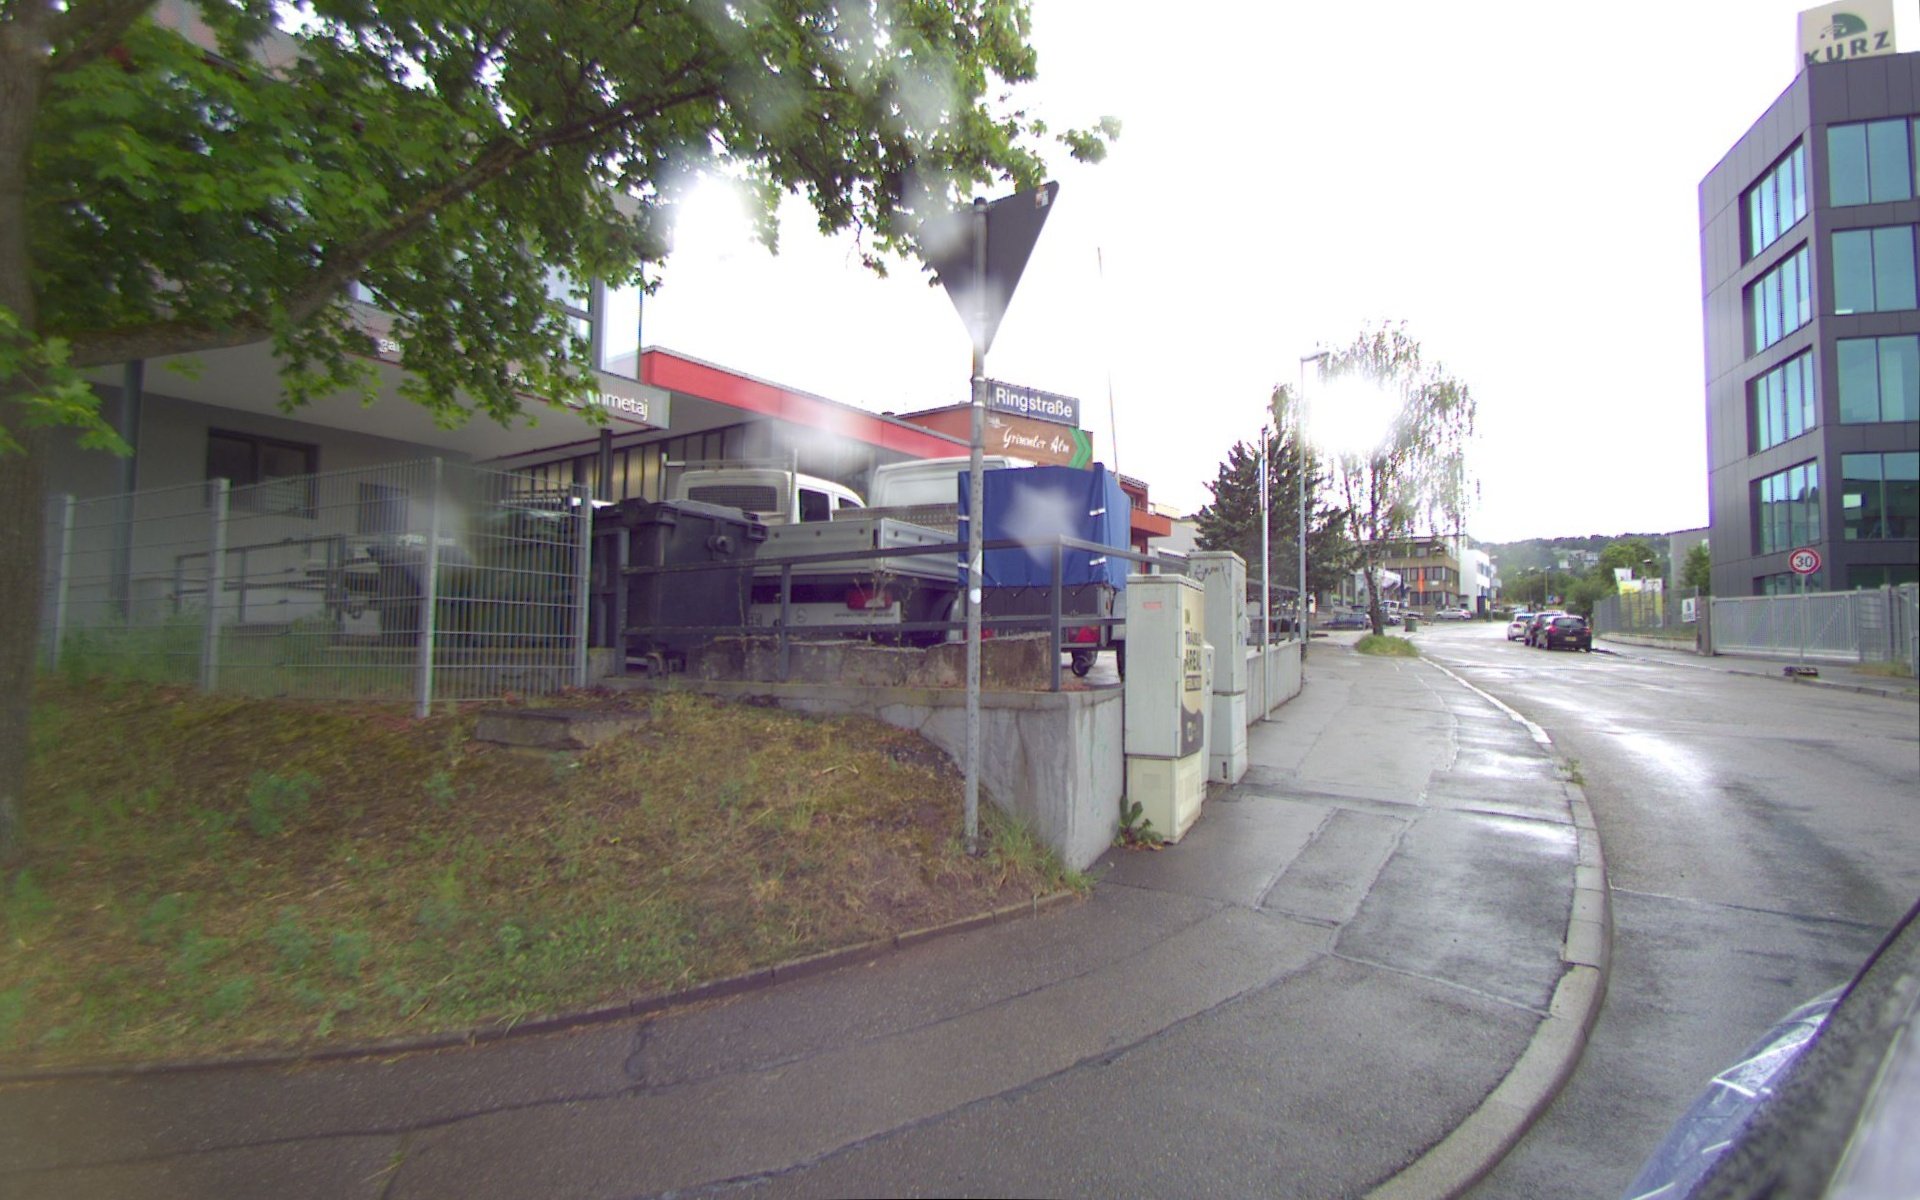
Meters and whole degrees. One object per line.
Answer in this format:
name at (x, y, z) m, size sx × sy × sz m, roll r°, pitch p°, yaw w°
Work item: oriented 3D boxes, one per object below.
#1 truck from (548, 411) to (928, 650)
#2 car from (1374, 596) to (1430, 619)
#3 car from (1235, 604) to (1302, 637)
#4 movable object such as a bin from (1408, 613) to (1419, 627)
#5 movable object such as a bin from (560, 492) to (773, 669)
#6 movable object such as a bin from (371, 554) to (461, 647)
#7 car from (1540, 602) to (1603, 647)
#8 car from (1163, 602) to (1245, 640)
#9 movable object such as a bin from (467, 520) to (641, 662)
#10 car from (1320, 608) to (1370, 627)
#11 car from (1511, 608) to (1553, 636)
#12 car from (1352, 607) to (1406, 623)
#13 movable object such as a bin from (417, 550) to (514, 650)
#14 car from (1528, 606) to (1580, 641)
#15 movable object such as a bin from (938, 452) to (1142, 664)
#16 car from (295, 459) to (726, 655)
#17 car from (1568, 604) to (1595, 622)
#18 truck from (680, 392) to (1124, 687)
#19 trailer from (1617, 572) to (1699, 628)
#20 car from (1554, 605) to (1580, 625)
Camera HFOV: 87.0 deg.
truck at (-2.463, -0.677, 12.684) m, size 2.226 × 2.372 × 4.794 m, roll 0°, pitch -1°, yaw 25°
car at (46.959, 0.792, 107.616) m, size 5.128 × 2.323 × 2.172 m, roll -1°, pitch -1°, yaw 38°
car at (18.883, 1.255, 61.947) m, size 3.426 × 1.519 × 1.596 m, roll -12°, pitch -8°, yaw 38°
movable object such as a bin at (34.236, 1.503, 76.441) m, size 0.730 × 1.104 × 0.588 m, roll 0°, pitch -1°, yaw 30°
movable object such as a bin at (-2.145, -0.127, 7.442) m, size 1.133 × 1.177 × 1.015 m, roll 0°, pitch -1°, yaw 32°
movable object such as a bin at (-4.921, 0.004, 9.162) m, size 0.519 × 0.812 × 0.533 m, roll 0°, pitch -1°, yaw 32°
car at (26.240, 1.018, 43.539) m, size 1.725 × 1.820 × 3.927 m, roll 0°, pitch -1°, yaw 23°
car at (11.282, 0.959, 46.605) m, size 1.991 × 1.599 × 4.448 m, roll -3°, pitch -2°, yaw 38°
movable object such as a bin at (-3.263, -0.063, 8.151) m, size 1.046 × 1.056 × 0.873 m, roll 0°, pitch -1°, yaw 34°
car at (32.561, 1.459, 85.574) m, size 3.725 × 1.560 × 1.611 m, roll 0°, pitch -1°, yaw 34°
car at (32.934, 1.244, 58.337) m, size 1.722 × 1.555 × 4.213 m, roll -1°, pitch -1°, yaw 25°
car at (41.334, 1.451, 99.907) m, size 4.598 × 1.516 × 1.916 m, roll 0°, pitch -1°, yaw 36°
movable object such as a bin at (-4.260, 0.002, 8.725) m, size 0.562 × 0.828 × 0.533 m, roll 0°, pitch -1°, yaw 32°
car at (28.282, 1.091, 48.263) m, size 1.619 × 1.578 × 4.051 m, roll 0°, pitch -1°, yaw 23°
movable object such as a bin at (0.726, -0.295, 8.340) m, size 1.293 × 1.519 × 1.848 m, roll 0°, pitch -1°, yaw 18°
car at (-5.509, -0.430, 13.177) m, size 2.046 × 2.039 × 4.885 m, roll 0°, pitch -1°, yaw 30°
car at (70.626, 1.491, 115.023) m, size 1.992 × 2.039 × 3.940 m, roll 0°, pitch -1°, yaw 41°
truck at (-0.177, -0.446, 10.665) m, size 2.093 × 2.242 × 5.596 m, roll 0°, pitch -1°, yaw 28°
trailer at (52.947, -0.001, 76.915) m, size 2.338 × 4.141 × 4.709 m, roll 0°, pitch -1°, yaw -16°
car at (58.901, 1.445, 98.287) m, size 1.982 × 1.938 × 3.959 m, roll 0°, pitch -1°, yaw 29°
